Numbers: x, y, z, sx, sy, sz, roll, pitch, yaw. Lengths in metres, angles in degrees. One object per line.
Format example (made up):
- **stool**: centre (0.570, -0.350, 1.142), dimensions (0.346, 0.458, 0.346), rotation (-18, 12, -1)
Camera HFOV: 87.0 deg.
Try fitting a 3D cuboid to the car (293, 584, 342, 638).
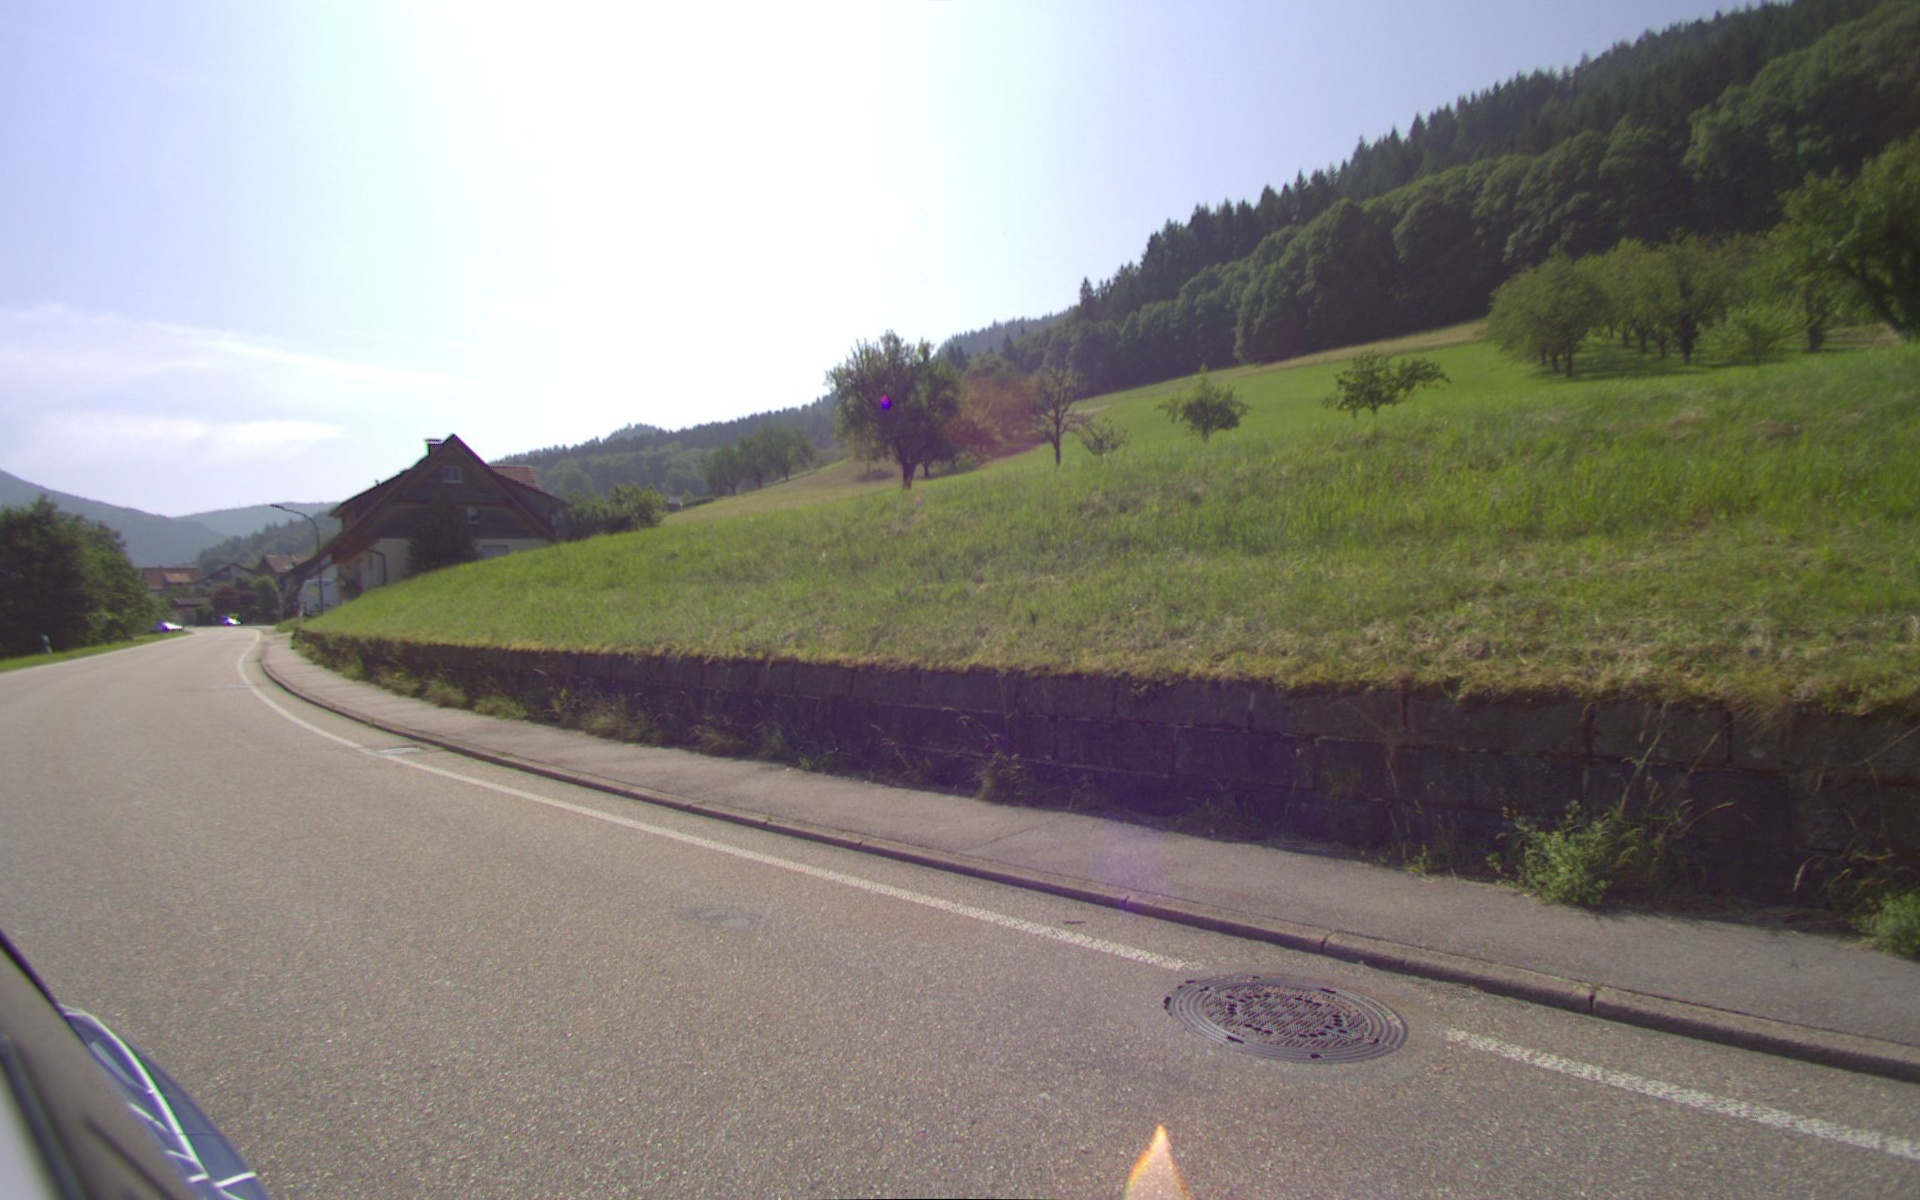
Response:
- **car**: centre (-39.673, 0.729, 62.384), dimensions (2.040, 2.708, 7.190), rotation (-5, -1, -35)
